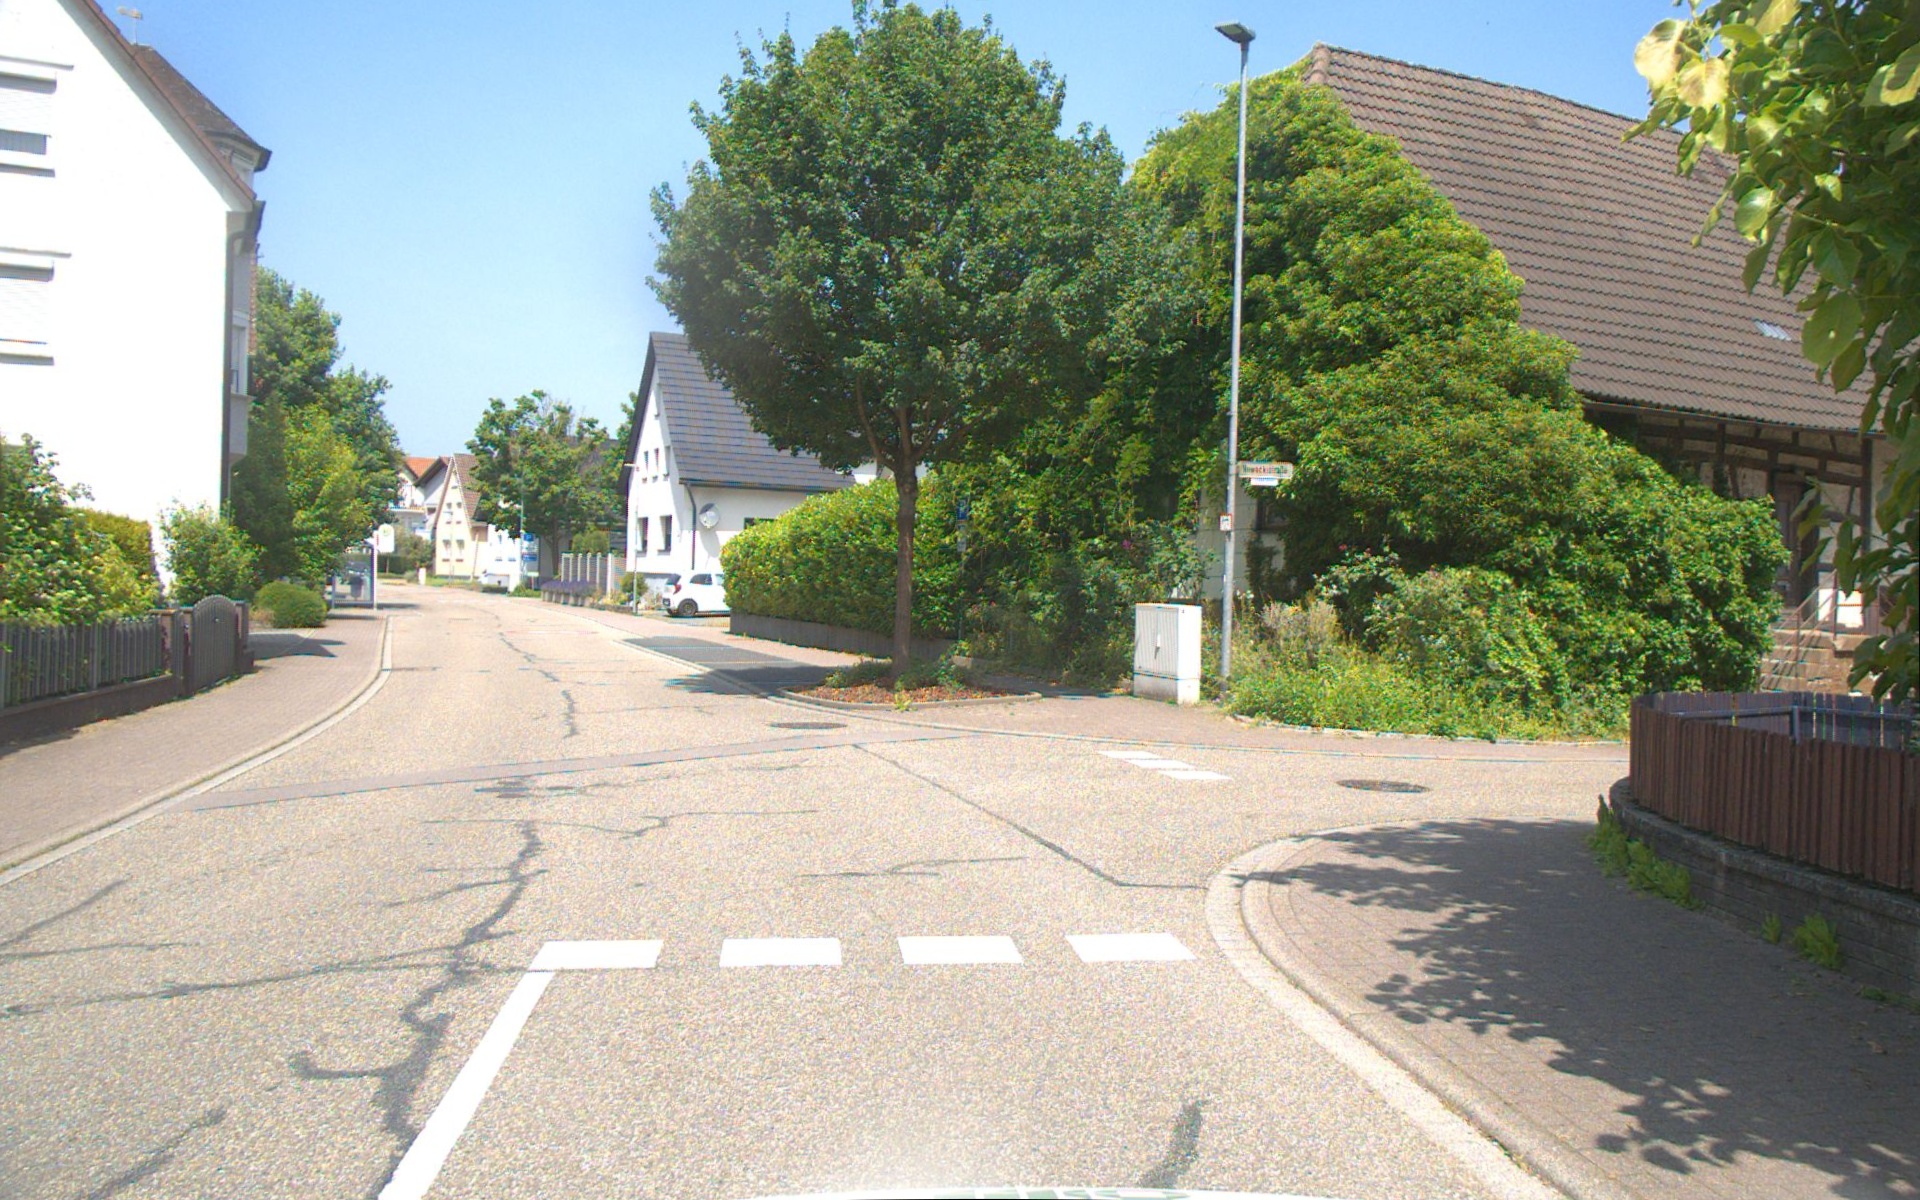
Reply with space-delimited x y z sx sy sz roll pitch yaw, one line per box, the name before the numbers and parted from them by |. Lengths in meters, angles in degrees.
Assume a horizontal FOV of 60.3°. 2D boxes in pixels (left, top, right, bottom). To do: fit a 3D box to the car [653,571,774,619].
car | -8.107 -0.191 54.352 3.613 1.500 1.751 -1 2 -27
